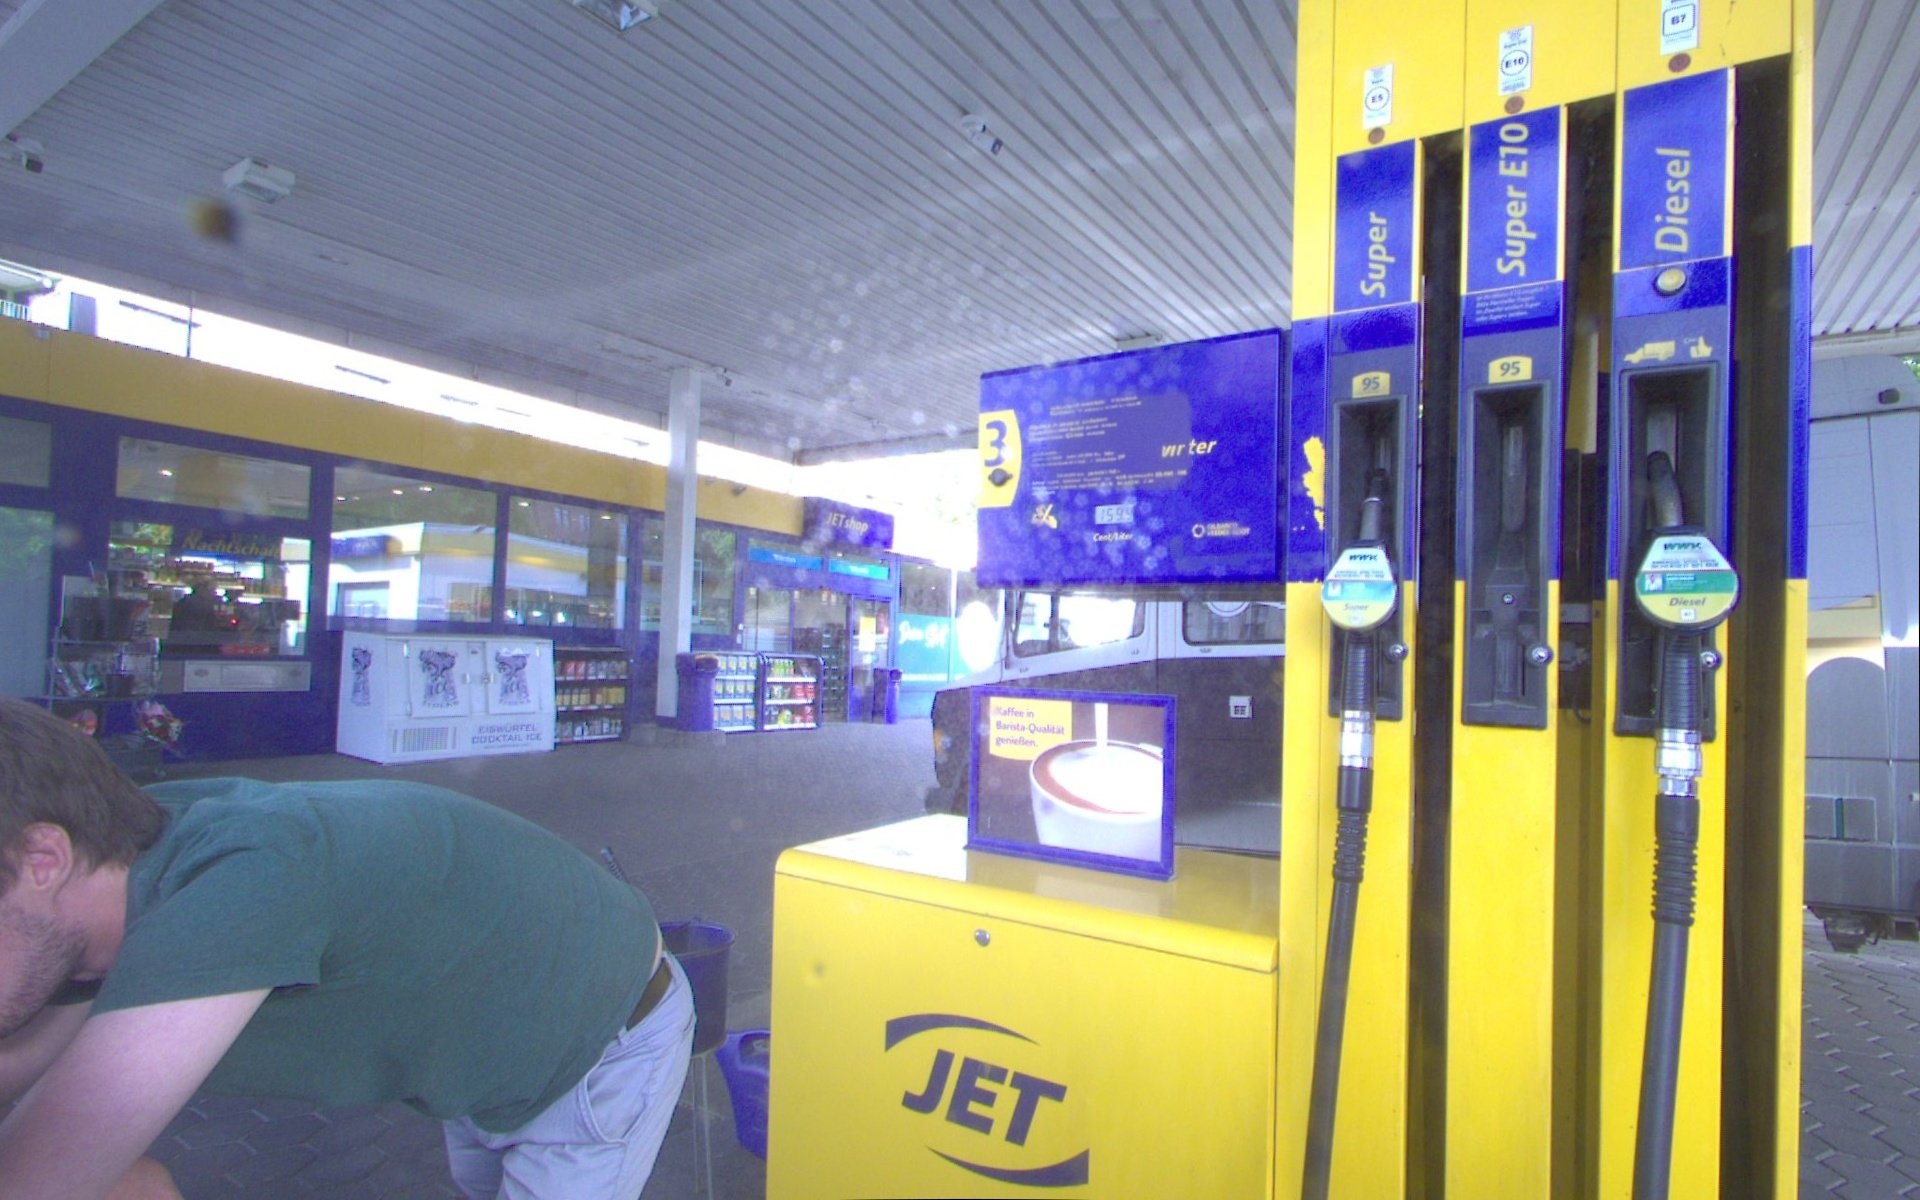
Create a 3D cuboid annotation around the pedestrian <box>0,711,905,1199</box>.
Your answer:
[{"bbox_3d":[-0.541,0.807,1.078,0.664,1.298,0.749,-1,-1,31],"label":"pedestrian"}]

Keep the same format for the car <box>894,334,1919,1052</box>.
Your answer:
[{"bbox_3d":[2.382,0.411,6.023,5.219,2.724,2.250,0,-3,34],"label":"car"}]
